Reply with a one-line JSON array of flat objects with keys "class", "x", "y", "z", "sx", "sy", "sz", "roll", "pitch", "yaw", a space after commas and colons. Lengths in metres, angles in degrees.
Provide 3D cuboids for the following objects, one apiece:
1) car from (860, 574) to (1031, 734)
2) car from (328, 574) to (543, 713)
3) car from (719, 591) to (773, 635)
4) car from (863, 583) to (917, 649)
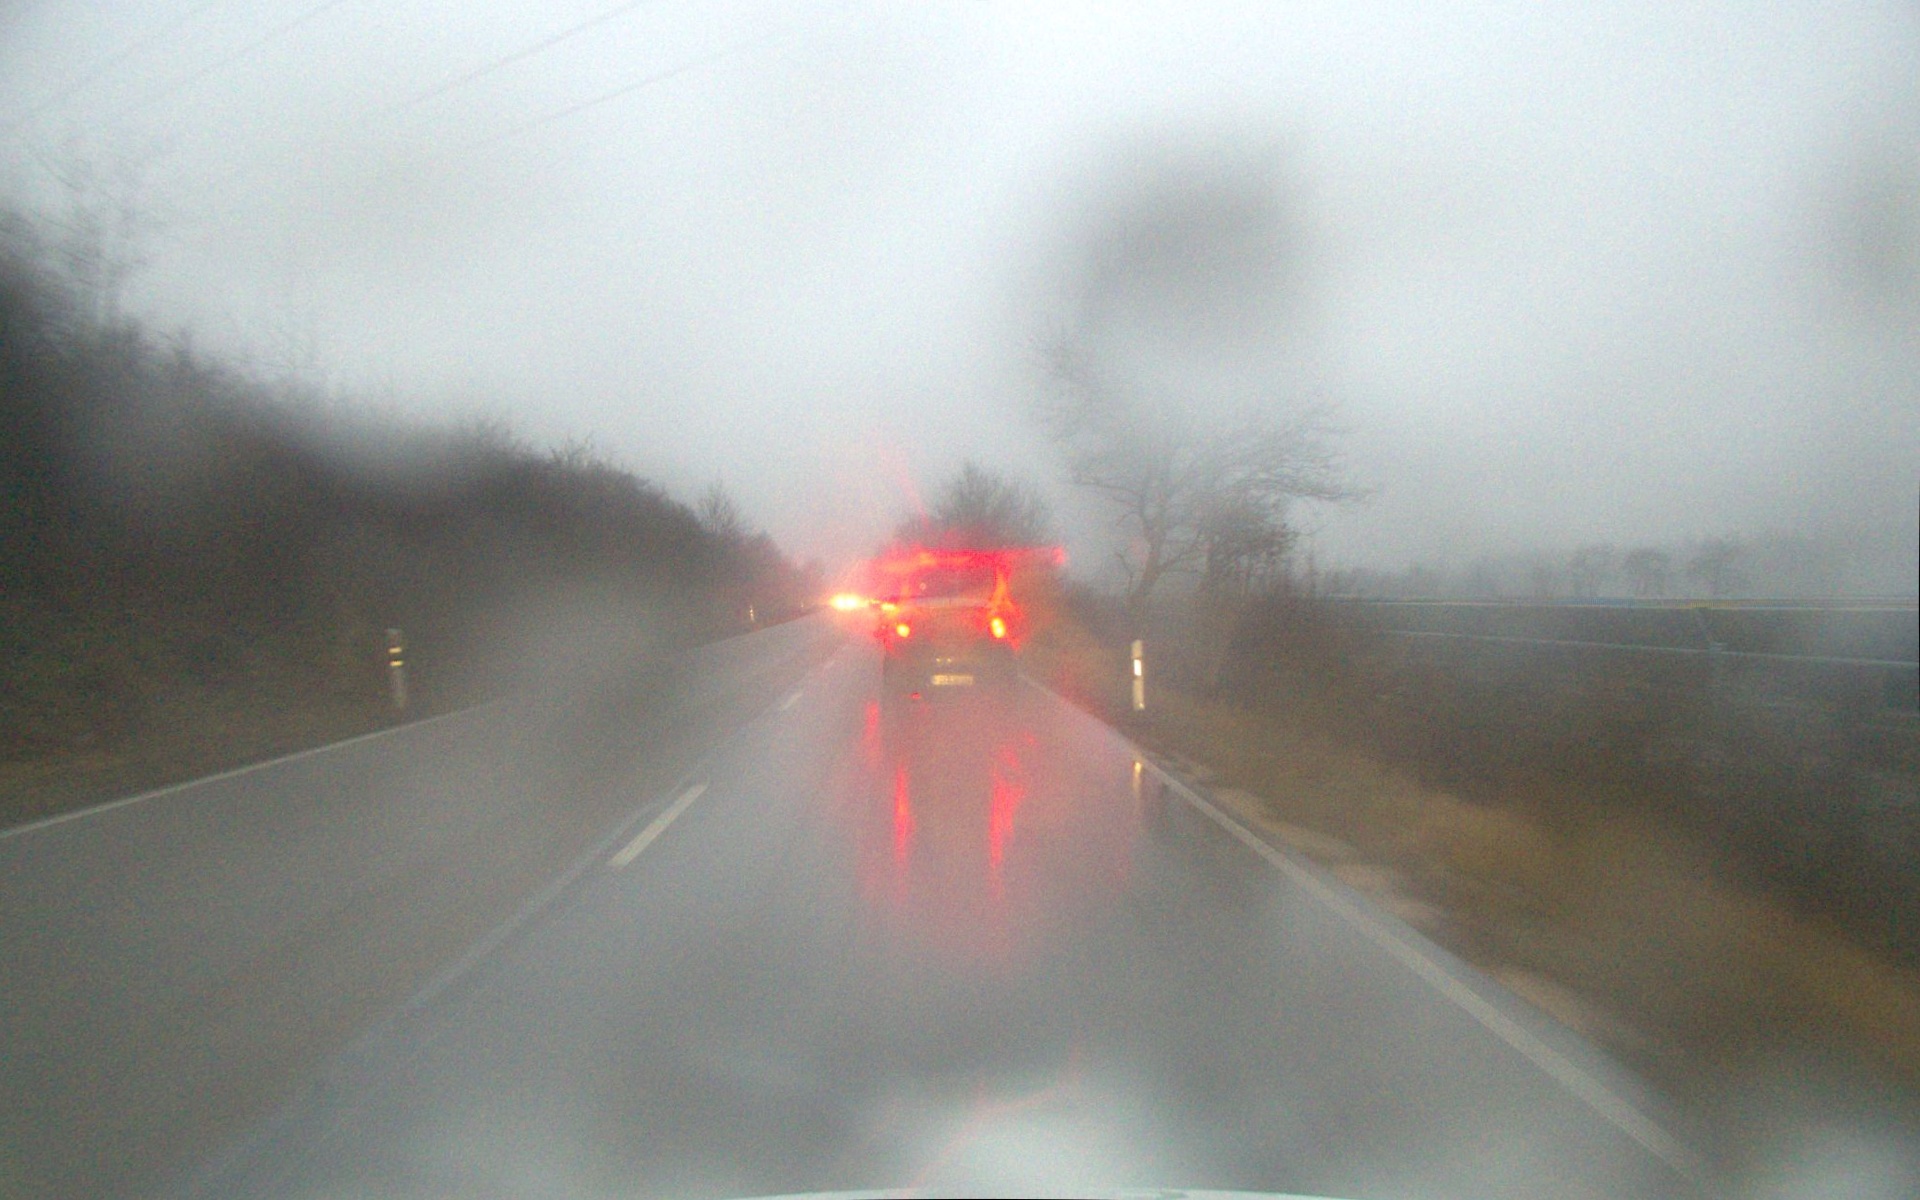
[{"class": "car", "x": -0.244, "y": 0.633, "z": 21.212, "sx": 1.953, "sy": 1.816, "sz": 3.998, "roll": 1, "pitch": 0, "yaw": -2}, {"class": "car", "x": -6.752, "y": 0.526, "z": 21.685, "sx": 1.740, "sy": 1.637, "sz": 3.772, "roll": -1, "pitch": 0, "yaw": -2}, {"class": "car", "x": -9.246, "y": 0.556, "z": 71.762, "sx": 1.953, "sy": 1.816, "sz": 3.998, "roll": 1, "pitch": 0, "yaw": -2}, {"class": "car", "x": -2.116, "y": 0.475, "z": 50.380, "sx": 1.543, "sy": 1.908, "sz": 3.707, "roll": 1, "pitch": 0, "yaw": -2}]
